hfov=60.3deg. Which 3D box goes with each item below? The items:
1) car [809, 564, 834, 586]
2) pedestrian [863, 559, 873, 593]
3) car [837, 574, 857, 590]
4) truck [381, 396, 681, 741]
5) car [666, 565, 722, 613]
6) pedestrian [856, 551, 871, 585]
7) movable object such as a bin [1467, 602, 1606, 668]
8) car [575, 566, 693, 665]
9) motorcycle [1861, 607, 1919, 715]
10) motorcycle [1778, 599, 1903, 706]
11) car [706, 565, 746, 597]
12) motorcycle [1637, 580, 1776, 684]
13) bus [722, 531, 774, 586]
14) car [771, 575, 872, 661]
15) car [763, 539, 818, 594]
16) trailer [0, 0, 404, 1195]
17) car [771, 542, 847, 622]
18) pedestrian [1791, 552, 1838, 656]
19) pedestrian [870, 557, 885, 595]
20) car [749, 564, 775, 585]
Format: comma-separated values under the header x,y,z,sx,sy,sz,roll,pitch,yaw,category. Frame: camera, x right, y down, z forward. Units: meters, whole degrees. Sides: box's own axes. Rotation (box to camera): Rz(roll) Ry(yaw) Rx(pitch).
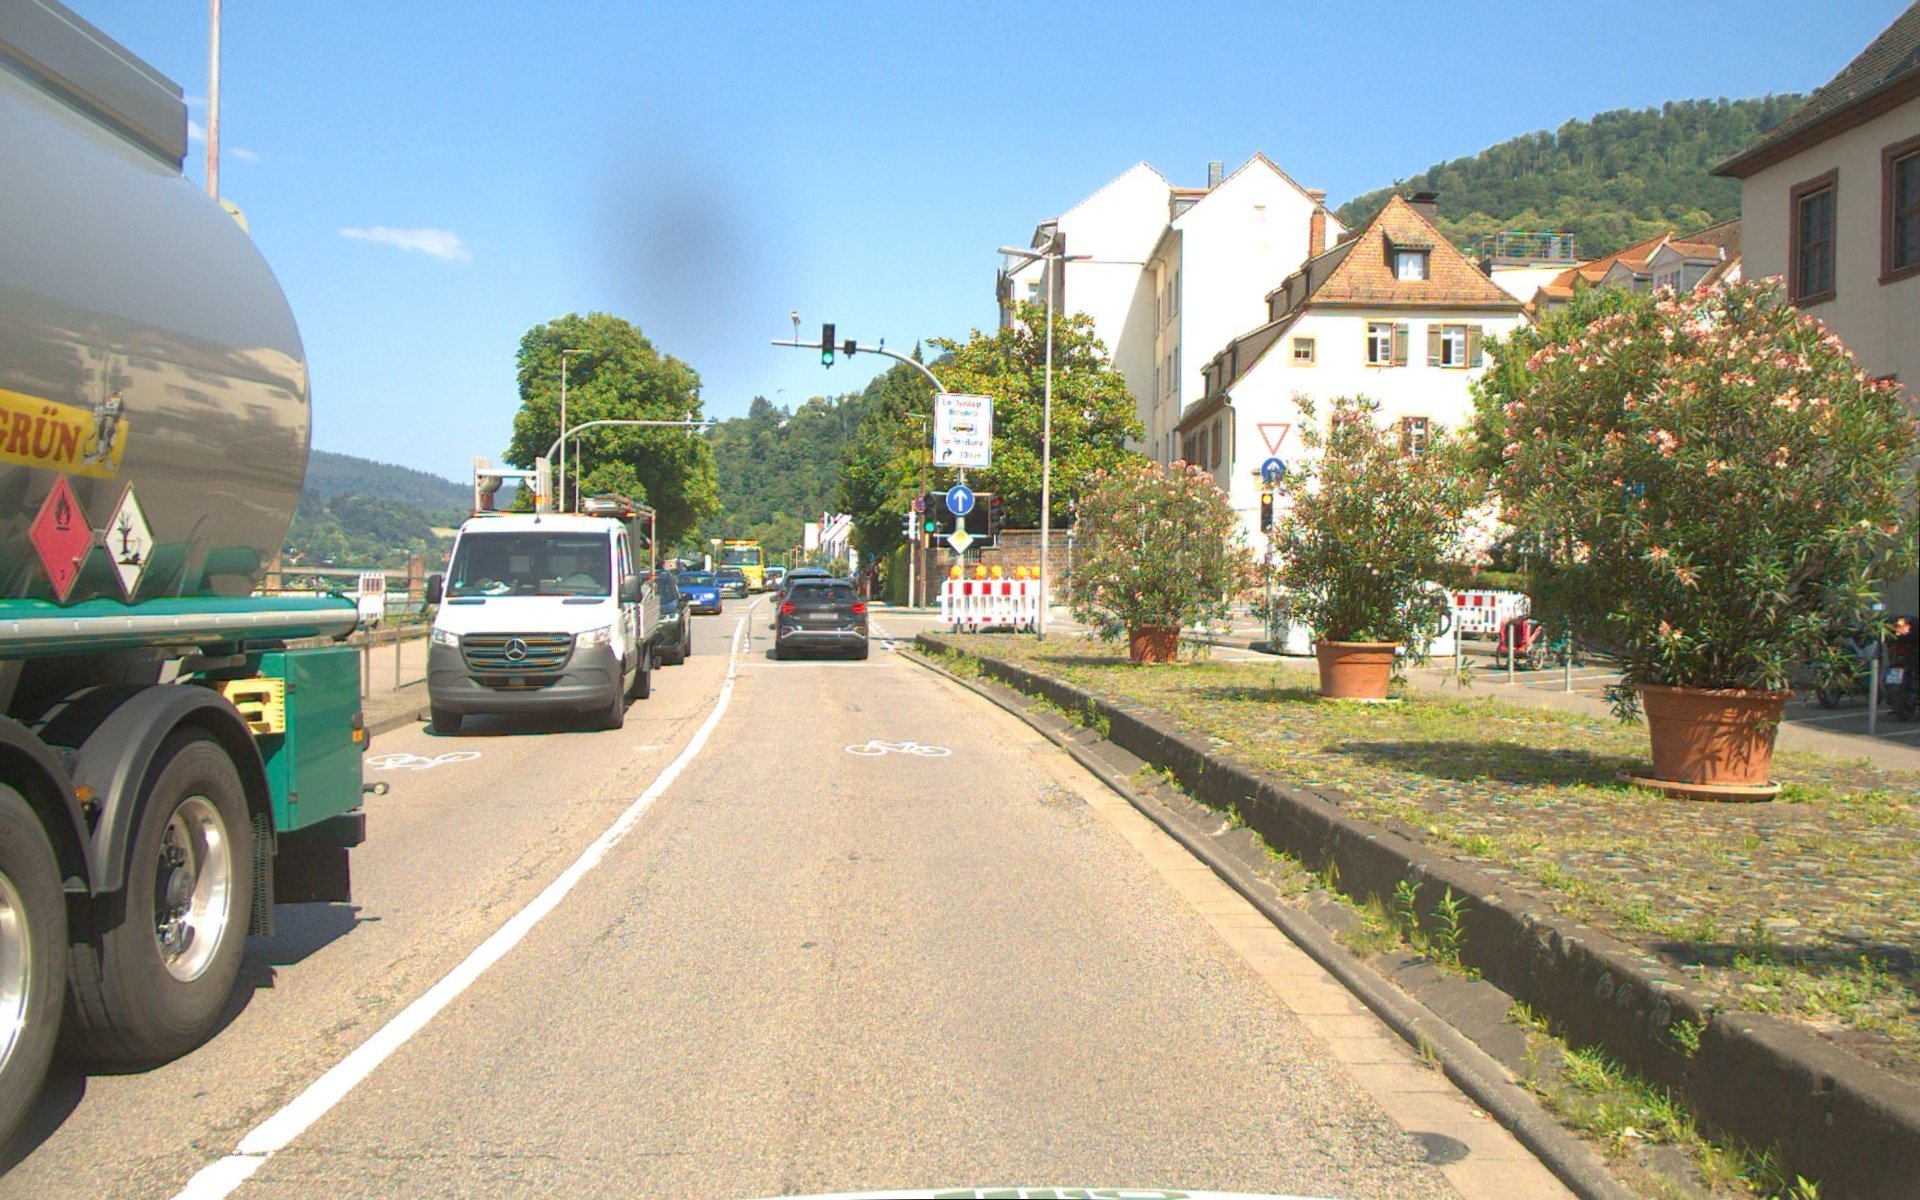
x,y,z,sx,sy,sz,roll,pitch,yaw,category
-9.924,-1.768,118.603,1.760,1.507,3.996,1,1,-5,car
-4.466,-1.174,80.125,0.446,1.634,0.579,1,0,-5,pedestrian
-11.216,-1.779,163.696,1.954,1.478,4.005,0,-1,-4,car
-4.850,-0.387,20.074,2.331,3.318,7.601,-2,1,-6,truck
-9.032,-0.395,55.961,1.776,1.534,3.991,1,1,-10,car
-4.792,-1.591,81.945,0.721,1.662,0.920,0,1,-5,pedestrian
10.763,0.626,30.799,2.932,1.129,1.238,0,1,-43,movable object such as a bin
-6.035,0.226,31.060,1.827,1.710,4.447,-1,1,-7,car
12.180,0.741,20.871,2.175,1.289,0.620,0,0,-38,motorcycle
12.012,0.685,22.545,2.213,1.273,0.620,-3,5,-38,motorcycle
-10.861,-0.904,76.925,1.774,1.430,4.350,0,1,-7,car
11.735,0.481,25.976,2.474,1.559,1.038,1,0,-41,motorcycle
-11.992,-2.345,94.020,2.546,2.947,8.440,0,1,-5,bus
-2.779,0.295,32.497,1.822,1.550,3.994,0,1,-7,car
-7.042,-1.381,69.182,1.954,2.048,3.997,4,0,-3,car
-3.542,-0.354,1.496,2.473,3.707,11.527,-1,0,-2,trailer
-4.126,-0.440,44.819,1.955,2.049,3.994,0,-1,-7,car
15.442,0.074,29.892,0.485,1.855,0.618,0,-1,-4,pedestrian
-3.941,-1.150,78.721,0.667,1.773,0.912,1,0,-5,pedestrian
-14.238,-1.857,119.111,1.780,1.422,4.342,-1,2,-5,car
